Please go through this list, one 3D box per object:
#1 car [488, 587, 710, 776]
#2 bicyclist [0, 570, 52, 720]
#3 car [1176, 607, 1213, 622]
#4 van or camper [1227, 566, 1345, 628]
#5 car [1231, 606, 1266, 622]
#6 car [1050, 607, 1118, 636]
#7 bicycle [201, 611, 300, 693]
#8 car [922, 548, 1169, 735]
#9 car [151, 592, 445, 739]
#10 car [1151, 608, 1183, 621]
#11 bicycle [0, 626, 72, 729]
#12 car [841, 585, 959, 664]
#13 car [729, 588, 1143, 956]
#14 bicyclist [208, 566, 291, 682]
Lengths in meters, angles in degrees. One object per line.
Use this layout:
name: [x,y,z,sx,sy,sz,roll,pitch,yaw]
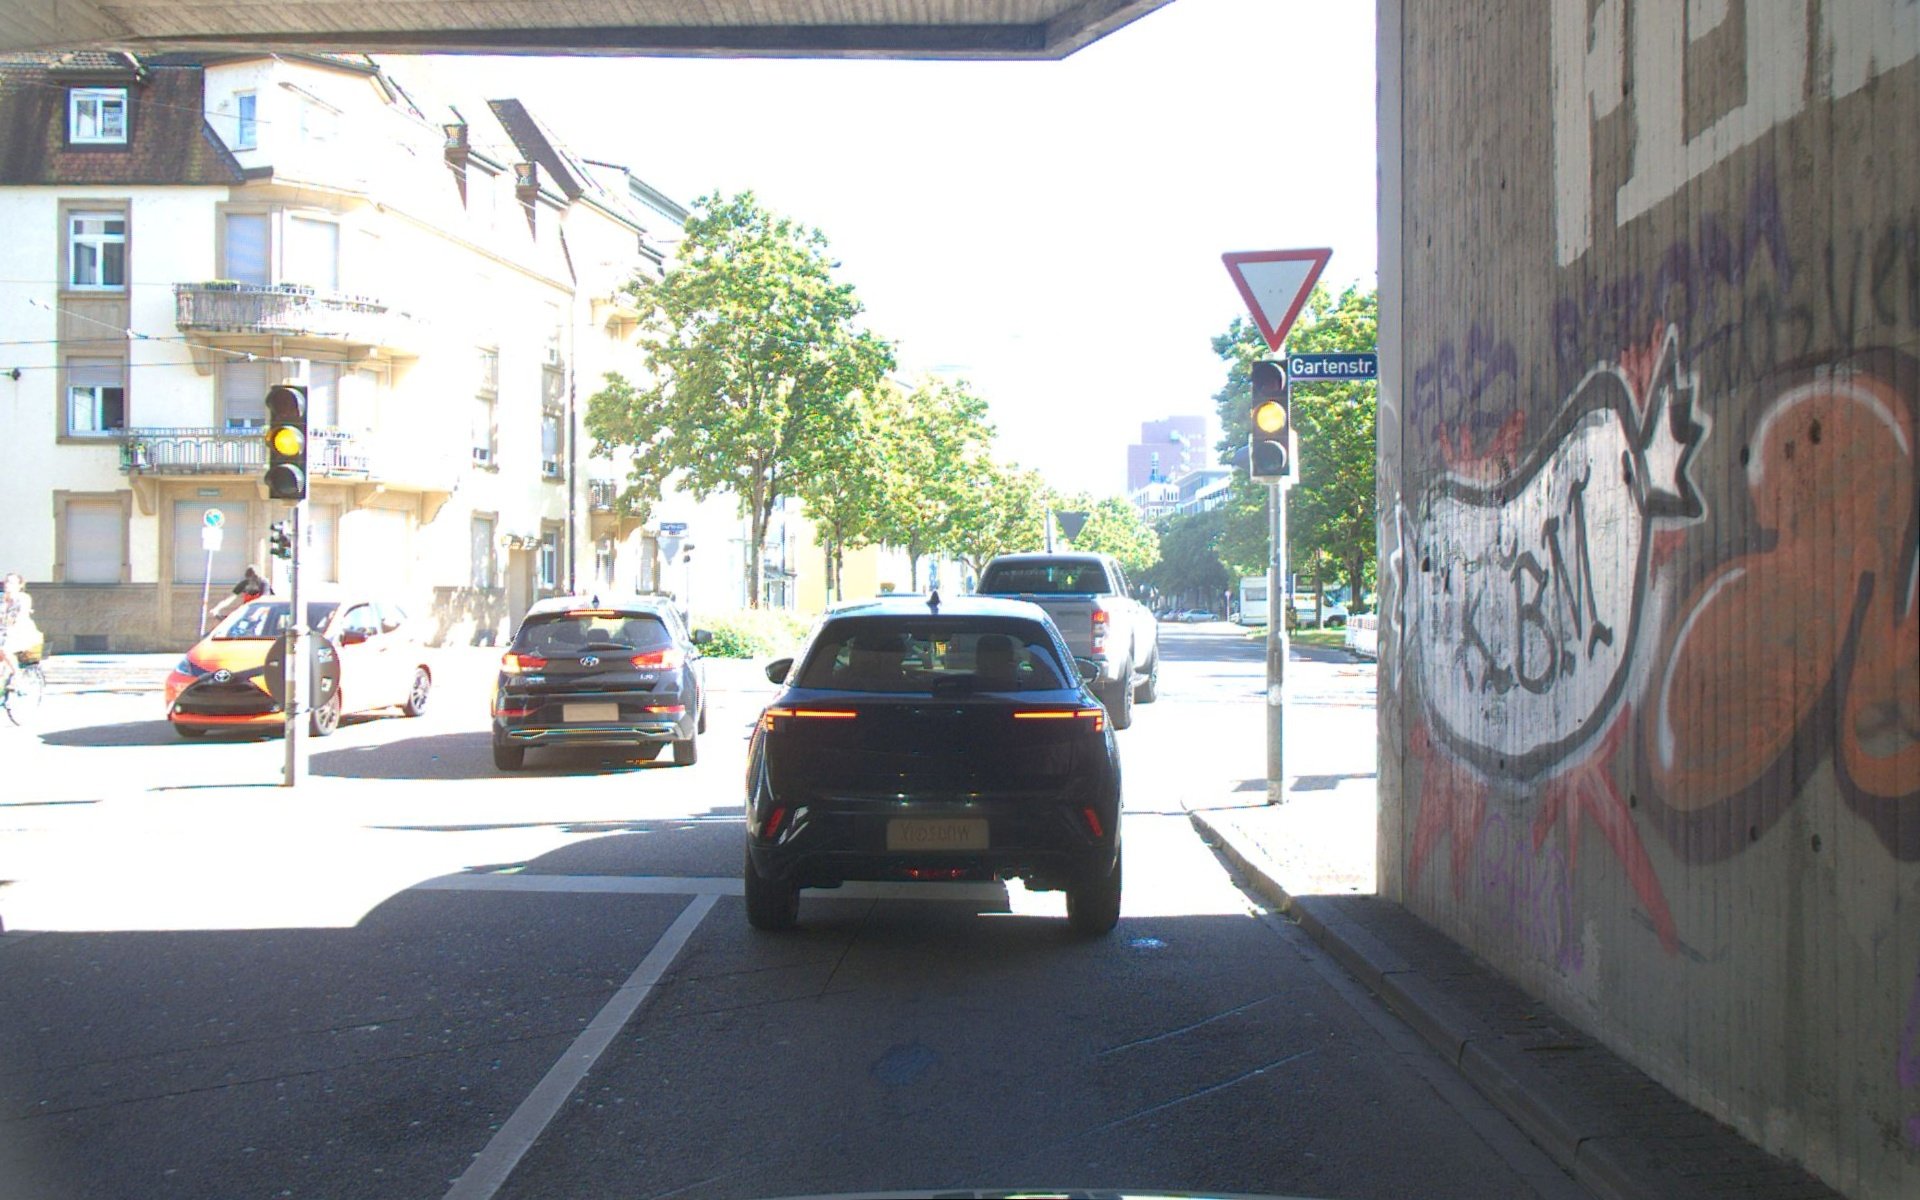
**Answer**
car: [-3.309,0.654,15.879,1.767,1.476,4.318,-1,1,-9]
bicyclist: [-10.841,0.498,18.737,0.593,1.661,0.910,0,0,0]
car: [26.348,1.611,186.044,3.865,1.421,1.517,-3,-1,2]
van or camper: [17.439,-0.162,88.683,5.949,2.980,2.577,-3,-1,10]
car: [27.067,1.321,155.412,3.175,1.300,1.517,-3,-1,9]
car: [9.425,1.607,125.957,4.820,2.119,1.971,-1,-1,-24]
bicycle: [-10.547,0.749,24.650,0.530,1.142,2.059,0,0,2]
car: [1.154,0.414,19.094,2.087,1.867,4.944,0,0,12]
car: [-7.179,0.649,18.301,1.622,1.466,3.465,0,0,5]
car: [26.237,1.822,210.163,3.865,1.421,1.517,-3,-1,2]
bicycle: [-10.847,0.863,18.802,0.515,1.109,1.860,0,0,0]
car: [-1.170,0.472,34.314,1.750,1.540,4.119,0,0,8]
car: [-0.084,0.726,8.876,1.745,1.544,3.755,0,0,0]
bicyclist: [-10.553,0.351,24.611,0.766,1.689,1.031,0,0,1]
